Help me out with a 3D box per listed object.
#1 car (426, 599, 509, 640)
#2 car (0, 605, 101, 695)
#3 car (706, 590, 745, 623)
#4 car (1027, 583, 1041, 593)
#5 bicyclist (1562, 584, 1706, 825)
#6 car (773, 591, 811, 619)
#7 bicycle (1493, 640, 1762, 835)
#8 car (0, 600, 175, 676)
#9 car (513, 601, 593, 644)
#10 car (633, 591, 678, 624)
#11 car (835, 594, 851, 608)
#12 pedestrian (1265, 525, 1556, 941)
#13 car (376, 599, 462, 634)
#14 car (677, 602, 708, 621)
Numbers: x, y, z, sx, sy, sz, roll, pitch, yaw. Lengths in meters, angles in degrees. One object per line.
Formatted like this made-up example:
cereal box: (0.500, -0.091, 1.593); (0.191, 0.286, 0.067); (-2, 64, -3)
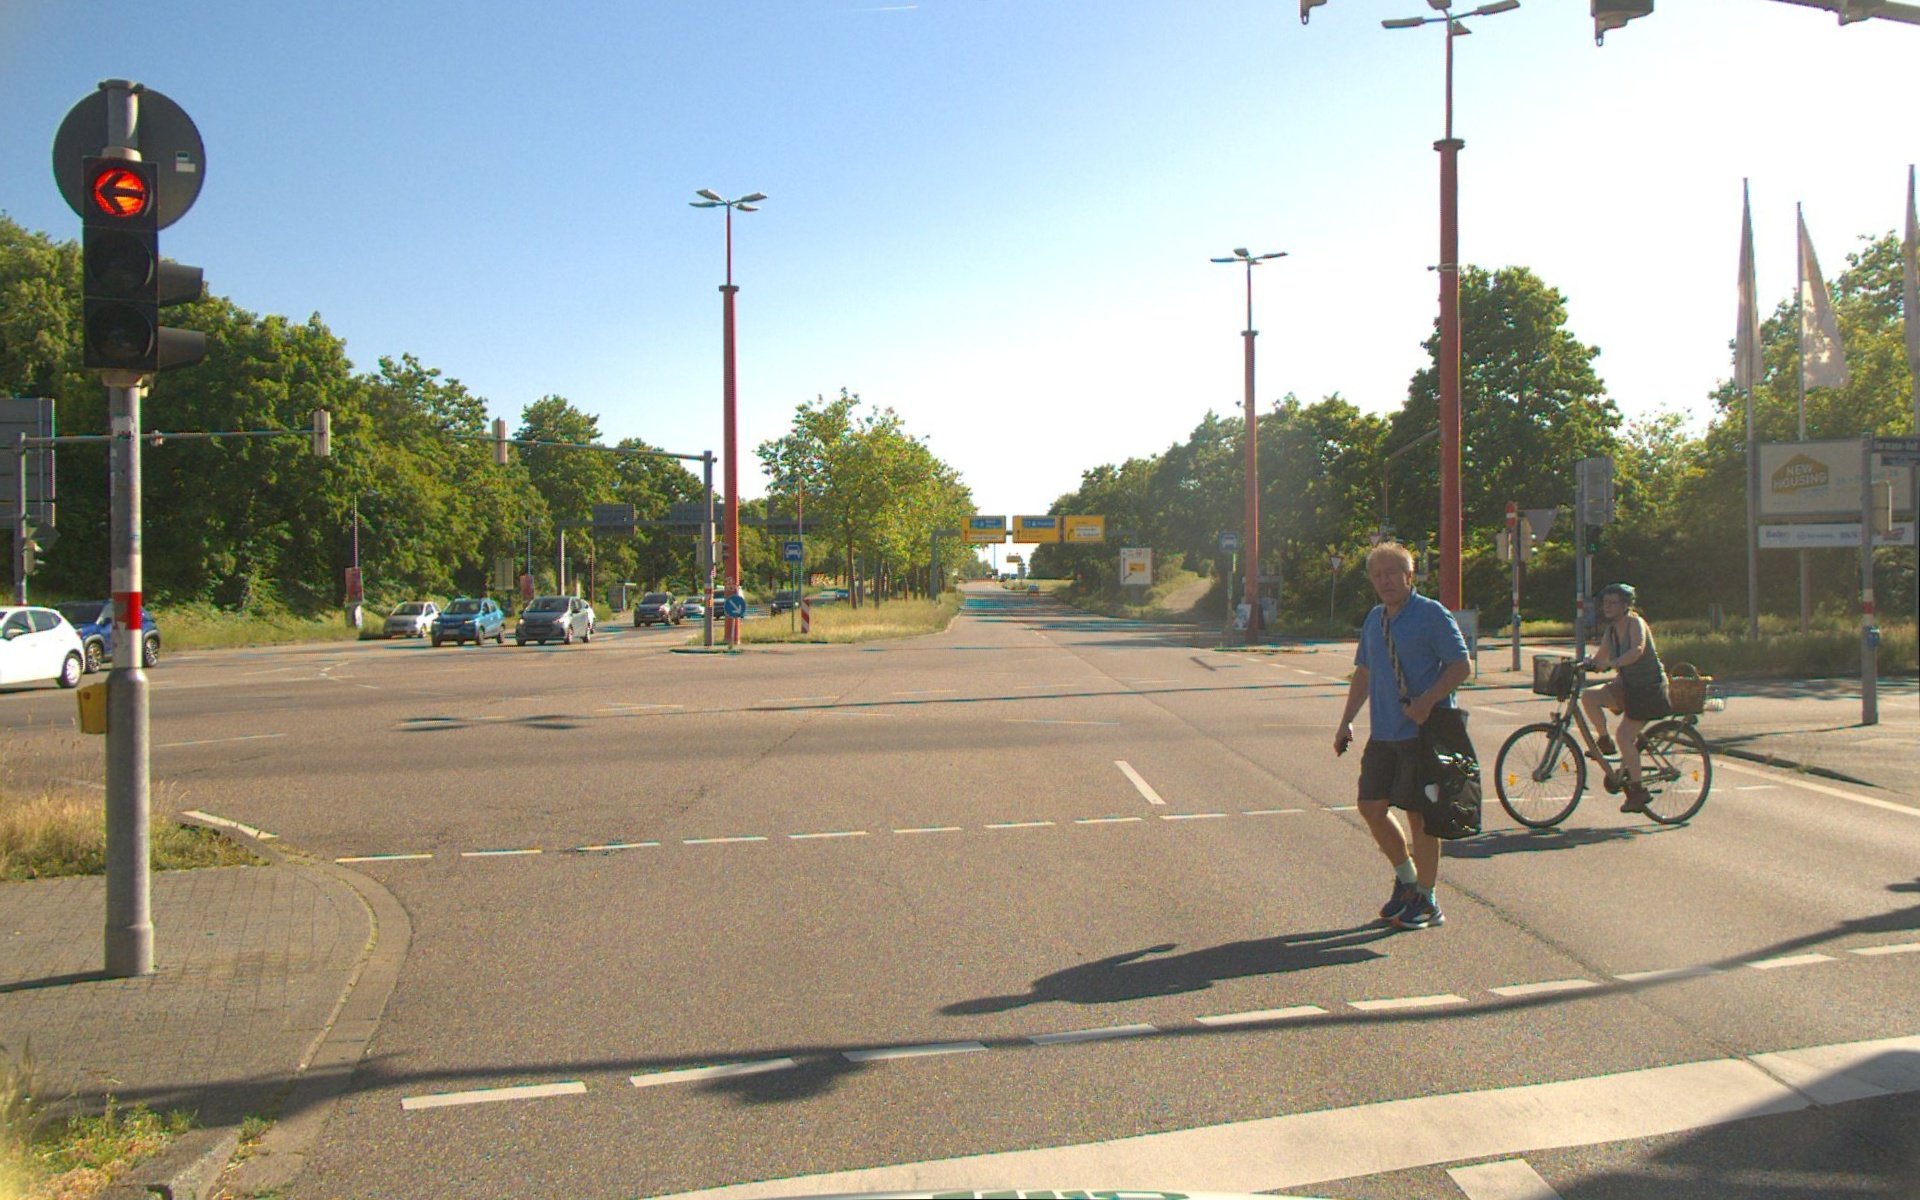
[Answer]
car: (-15.982, 0.600, 53.786); (1.704, 1.265, 3.611); (0, 0, -2)
car: (-16.303, 0.813, 27.810); (1.654, 1.431, 4.021); (0, 0, 0)
car: (-14.975, 0.404, 105.800); (1.855, 2.061, 5.221); (0, 0, -2)
car: (10.637, -1.724, 239.216); (1.758, 1.434, 3.999); (1, 0, -1)
bicyclist: (4.695, 0.702, 11.538); (0.653, 1.612, 0.666); (0, 0, -28)
car: (-9.432, 0.257, 92.955); (1.782, 1.534, 3.999); (0, 0, -1)
bicycle: (4.664, 0.913, 11.518); (1.920, 1.216, 0.686); (0, 0, -29)
car: (-19.640, 0.805, 37.292); (1.953, 1.601, 4.106); (0, 0, -1)
car: (-12.674, 0.669, 51.697); (1.704, 1.265, 3.611); (0, 0, -2)
car: (-15.489, 0.375, 84.176); (1.704, 1.640, 3.611); (0, 0, -2)
car: (-13.894, 0.123, 196.916); (1.761, 1.668, 3.999); (1, 0, -2)
pedestrian: (2.132, 0.581, 7.902); (0.971, 1.825, 0.948); (0, 0, -23)
car: (-22.921, 0.683, 70.195); (1.713, 1.422, 4.003); (0, 0, 12)
car: (-18.938, 0.810, 117.100); (1.704, 1.265, 3.611); (0, 0, -2)
